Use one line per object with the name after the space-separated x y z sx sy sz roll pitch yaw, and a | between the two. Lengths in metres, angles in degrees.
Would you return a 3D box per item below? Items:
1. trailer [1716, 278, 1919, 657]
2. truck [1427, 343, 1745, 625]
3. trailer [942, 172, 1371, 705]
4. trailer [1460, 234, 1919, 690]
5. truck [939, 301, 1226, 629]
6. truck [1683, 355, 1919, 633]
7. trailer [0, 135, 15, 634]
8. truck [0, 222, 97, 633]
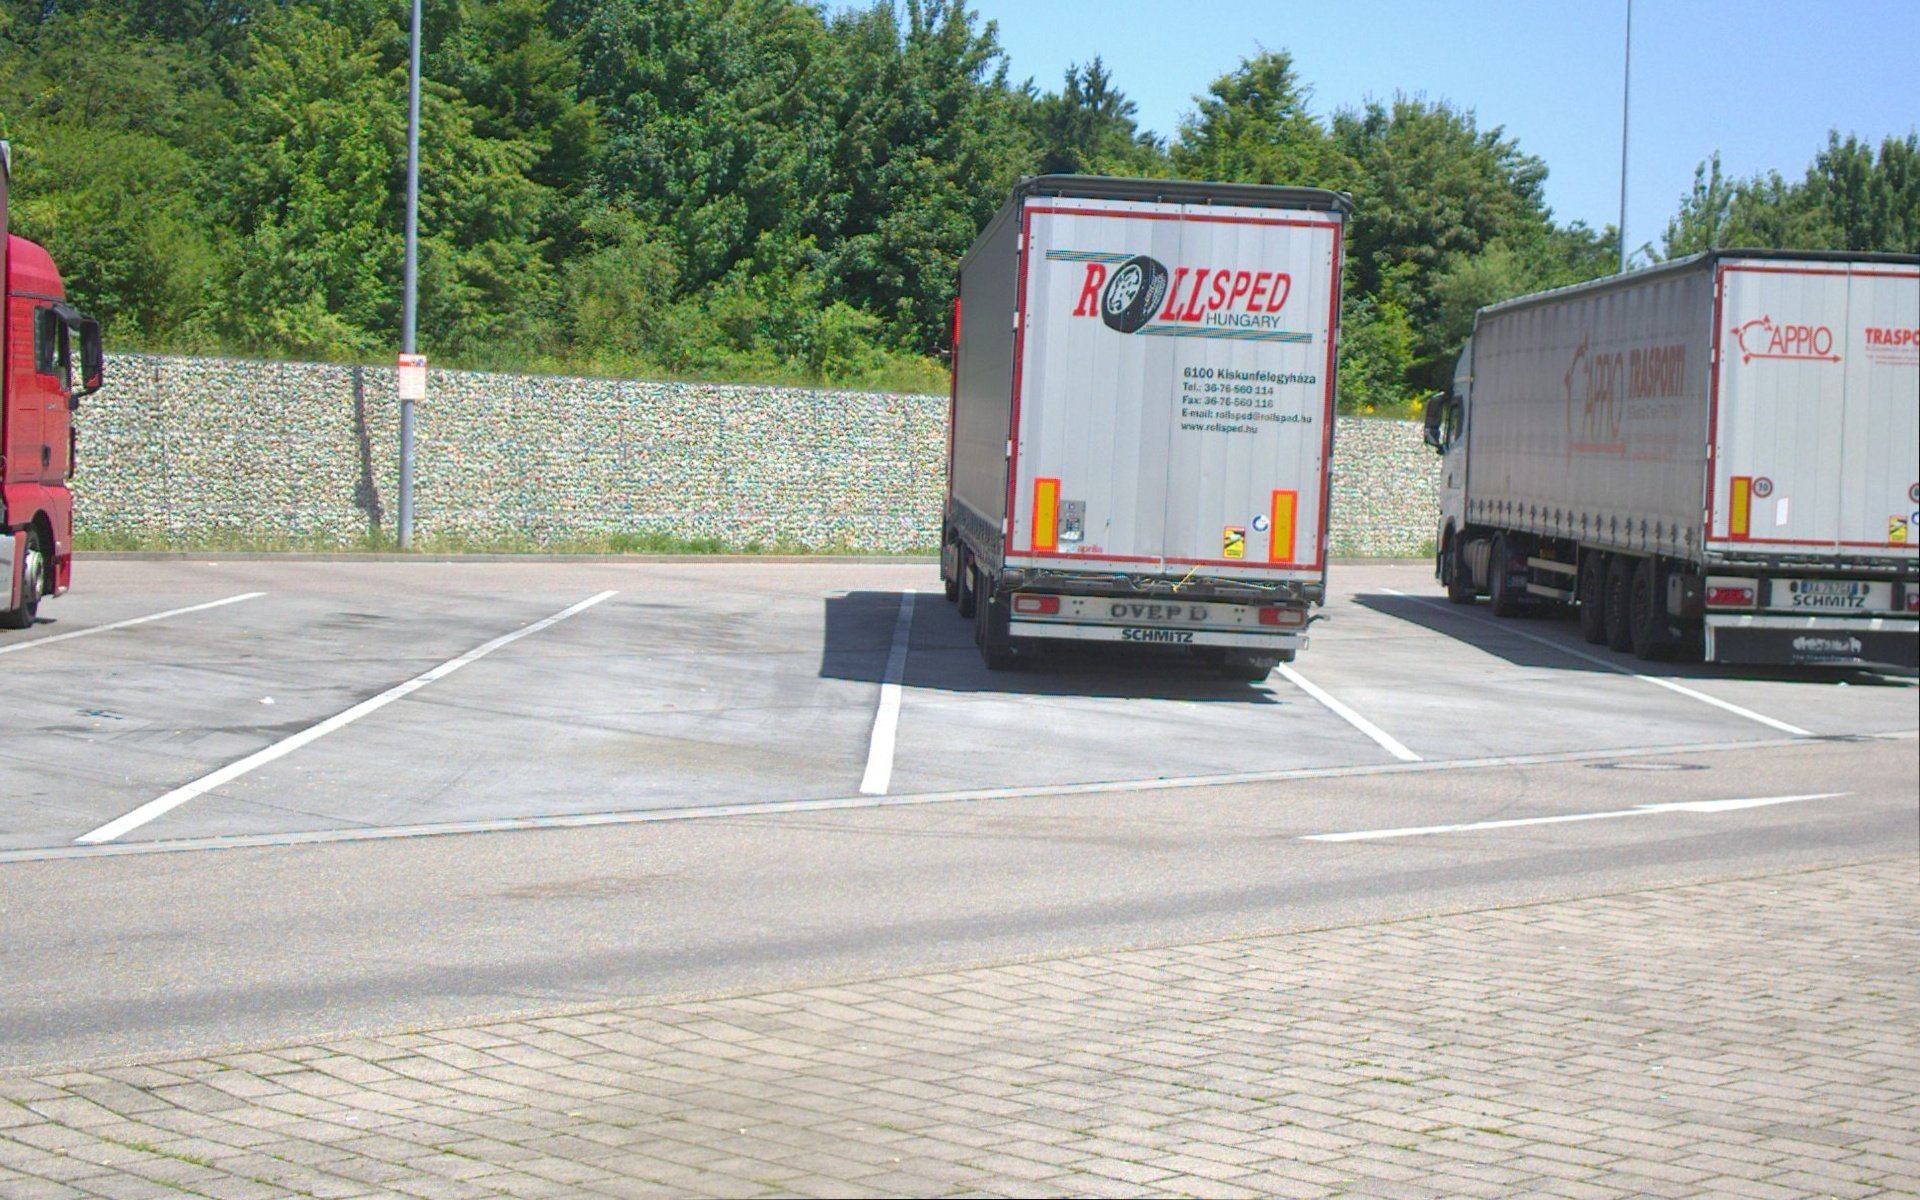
11.783 -1.501 39.392 2.858 4.095 13.765 2 3 -1 | trailer
8.082 -1.566 45.144 2.865 3.351 5.975 2 3 -1 | truck
1.460 -1.566 33.122 2.858 3.958 13.765 2 3 -1 | trailer
8.187 -1.586 38.378 2.858 4.095 13.765 2 3 -1 | trailer
1.273 -1.571 39.323 2.865 3.351 5.975 2 3 -1 | truck
11.688 -1.418 45.222 2.865 3.351 5.975 2 3 -1 | truck
-9.159 -1.466 21.377 2.821 4.057 13.765 2 3 -1 | trailer
-9.249 -1.456 28.196 2.812 3.351 5.975 2 3 -1 | truck
